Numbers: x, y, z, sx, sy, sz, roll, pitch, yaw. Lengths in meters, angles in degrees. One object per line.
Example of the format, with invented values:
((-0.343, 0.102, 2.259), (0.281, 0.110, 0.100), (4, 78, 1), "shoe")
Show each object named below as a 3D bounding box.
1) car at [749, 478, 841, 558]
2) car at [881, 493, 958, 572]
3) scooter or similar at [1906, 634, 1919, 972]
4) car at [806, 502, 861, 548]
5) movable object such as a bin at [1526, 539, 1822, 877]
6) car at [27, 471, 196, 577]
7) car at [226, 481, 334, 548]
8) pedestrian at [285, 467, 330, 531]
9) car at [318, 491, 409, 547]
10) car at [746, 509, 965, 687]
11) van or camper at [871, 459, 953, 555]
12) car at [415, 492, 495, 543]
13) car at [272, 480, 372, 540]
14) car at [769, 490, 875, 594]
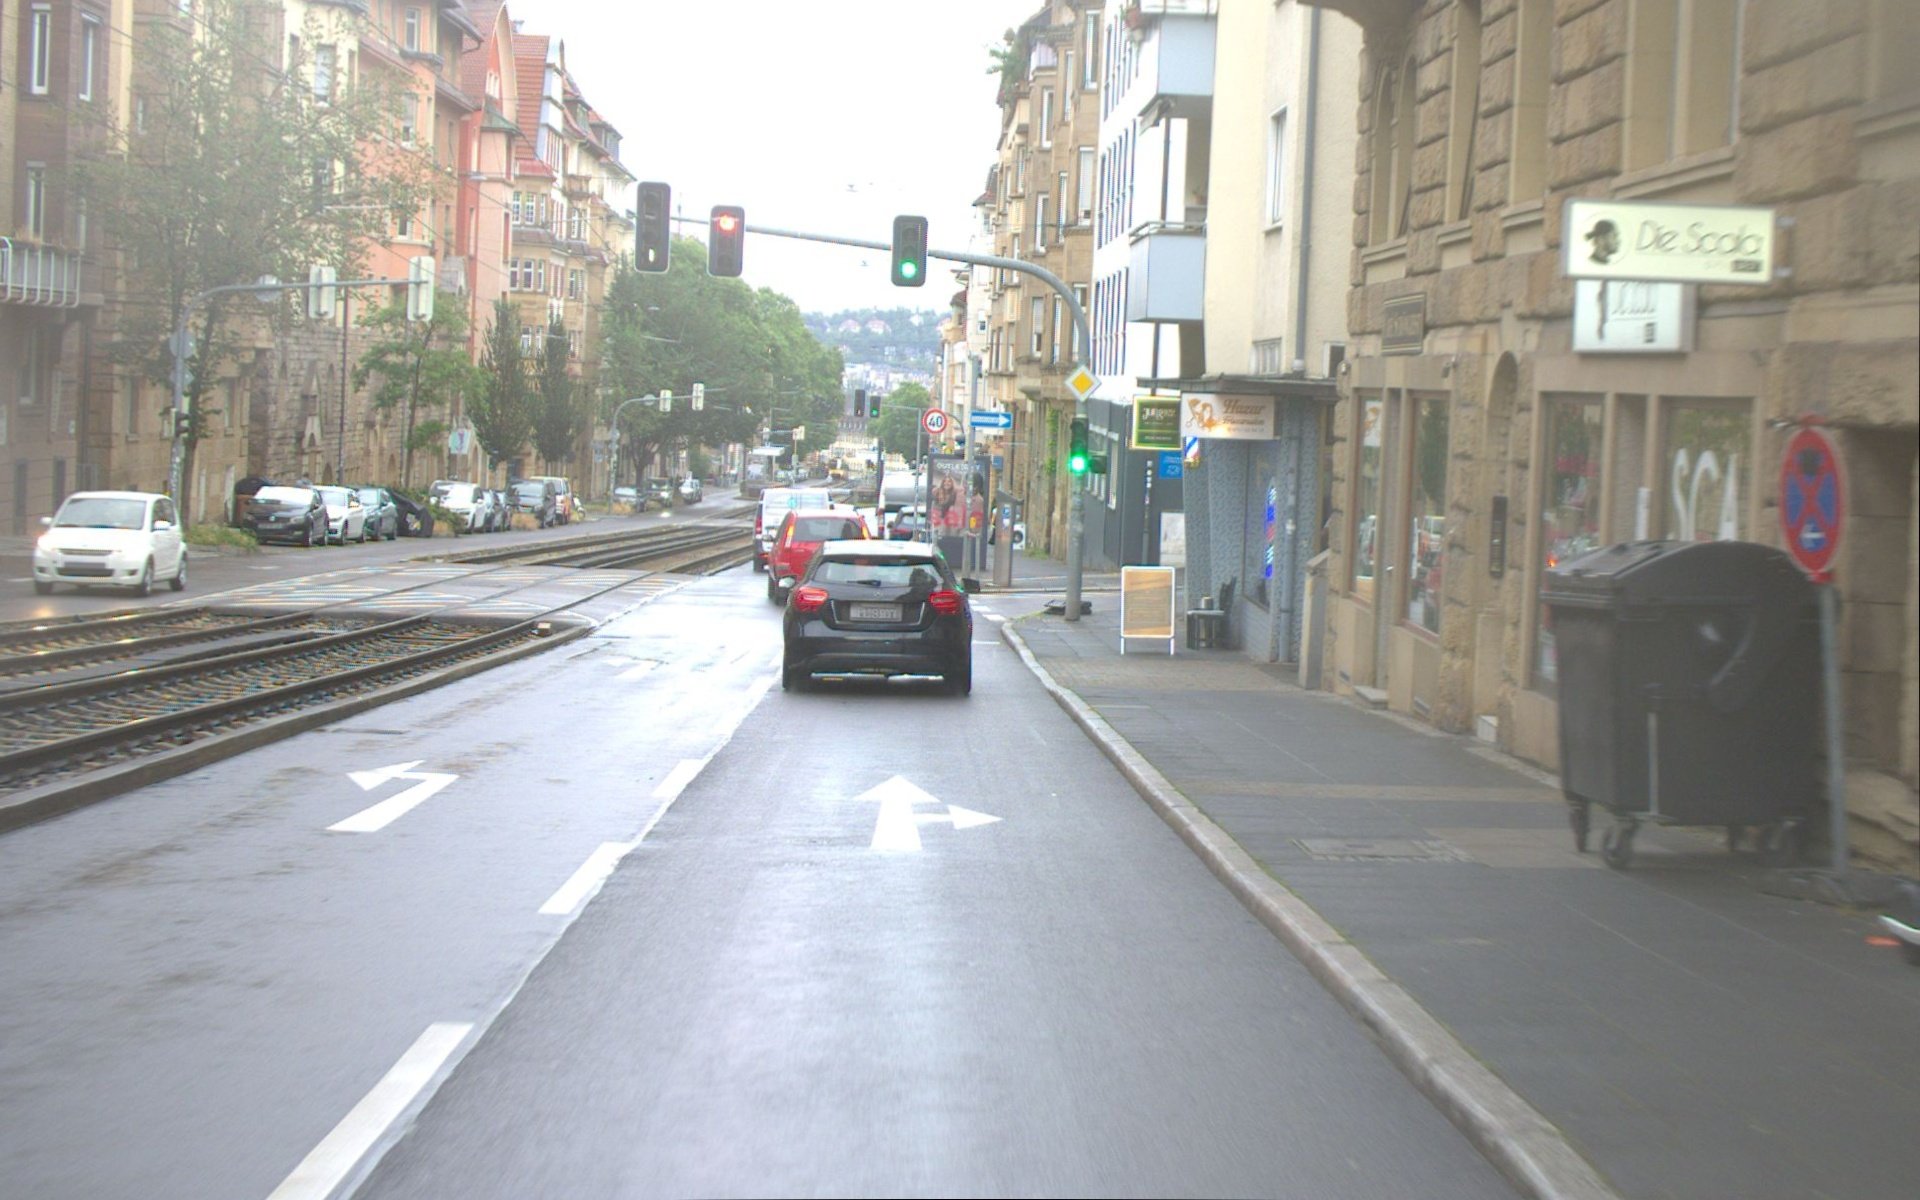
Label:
((-3.729, -1.850, 77.689), (1.921, 1.649, 4.001), (3, 1, -3), "car")
((-1.019, -1.703, 85.804), (1.768, 1.801, 4.483), (3, 2, -1), "car")
((3.314, 0.665, 10.931), (0.209, 1.108, 0.892), (1, 0, -11), "scooter or similar")
((-4.696, -2.791, 128.290), (1.902, 1.588, 4.000), (2, 1, -1), "car")
((3.184, 0.452, 15.476), (1.009, 1.446, 1.393), (0, 1, -1), "movable object such as a bin")
((-12.756, -1.146, 51.855), (1.627, 1.477, 3.581), (3, 1, 0), "car")
((-16.347, -2.041, 82.783), (1.765, 1.481, 4.000), (3, 1, 0), "car")
((-18.692, -2.896, 98.505), (1.007, 1.747, 0.924), (4, 2, 0), "pedestrian")
((-16.146, -2.188, 93.201), (1.561, 1.433, 4.146), (2, 1, 2), "car")
((-1.016, -0.054, 33.249), (1.946, 1.559, 3.643), (2, 1, -2), "car")
((-1.304, -2.521, 94.140), (2.064, 2.460, 6.119), (2, 1, -1), "van or camper")
((-16.548, -2.704, 112.874), (1.785, 1.584, 4.351), (2, 1, 2), "car")
((-16.263, -2.289, 87.817), (1.667, 1.421, 4.263), (3, 1, 1), "car")
((-2.236, -0.982, 56.457), (1.536, 1.505, 4.001), (3, 2, -1), "car")
